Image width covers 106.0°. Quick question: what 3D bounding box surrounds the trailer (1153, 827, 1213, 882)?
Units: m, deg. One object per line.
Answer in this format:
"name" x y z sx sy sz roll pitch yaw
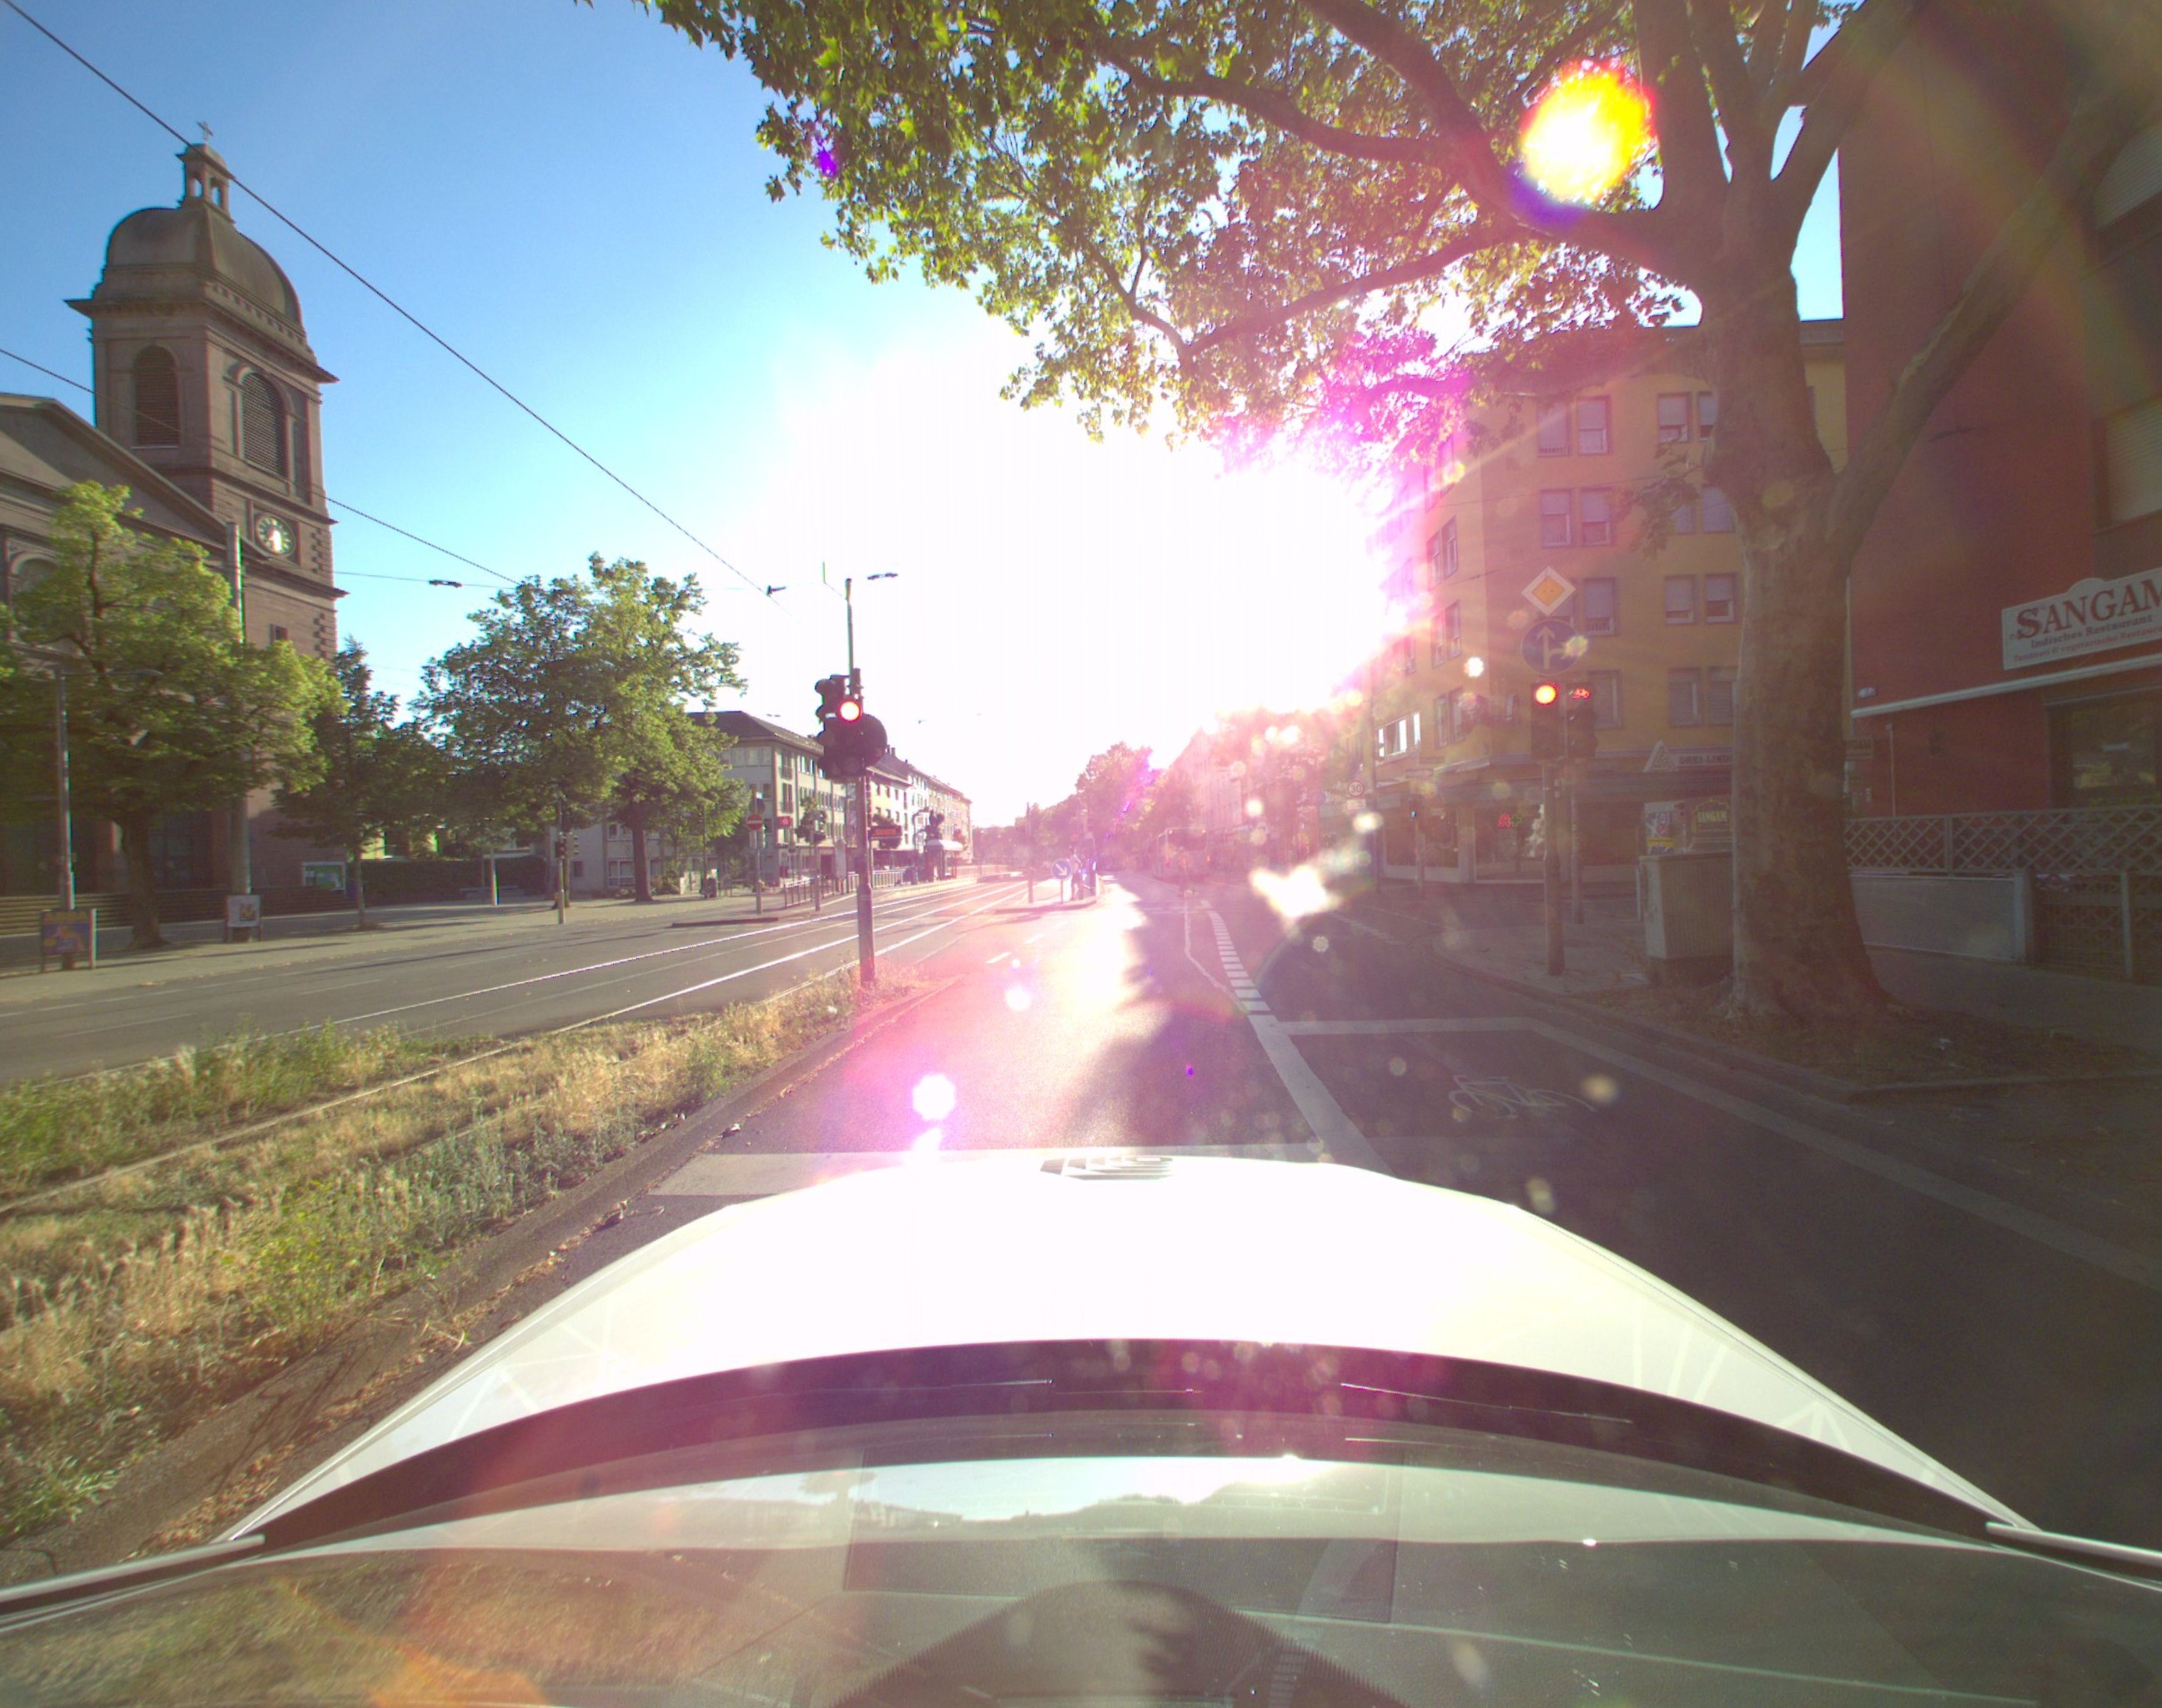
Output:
"trailer" 6.106 0.059 50.000 2.801 3.110 8.797 0 0 2

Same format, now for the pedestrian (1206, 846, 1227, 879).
"pedestrian" 8.379 0.506 50.361 0.961 2.014 0.906 0 -1 -39

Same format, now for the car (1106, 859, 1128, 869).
"car" 7.166 2.000 161.282 3.911 1.699 1.817 -2 0 -27

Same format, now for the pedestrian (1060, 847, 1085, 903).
"pedestrian" -0.277 0.659 26.399 0.679 1.770 0.686 -2 0 -5

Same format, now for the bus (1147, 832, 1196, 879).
"bus" 6.397 0.121 58.941 2.801 3.101 9.097 0 0 2

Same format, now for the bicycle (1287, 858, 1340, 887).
"bicycle" 8.899 0.705 31.238 1.766 1.021 0.694 -4 -1 1

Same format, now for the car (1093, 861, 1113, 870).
"car" 4.521 2.314 166.799 3.911 1.596 1.676 -2 0 -27

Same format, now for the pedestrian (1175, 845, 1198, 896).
"pedestrian" 3.705 0.571 28.659 0.677 1.770 0.687 -2 0 2

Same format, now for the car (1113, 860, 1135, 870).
"car" 8.353 2.090 158.534 3.911 1.699 1.817 -2 0 -27
